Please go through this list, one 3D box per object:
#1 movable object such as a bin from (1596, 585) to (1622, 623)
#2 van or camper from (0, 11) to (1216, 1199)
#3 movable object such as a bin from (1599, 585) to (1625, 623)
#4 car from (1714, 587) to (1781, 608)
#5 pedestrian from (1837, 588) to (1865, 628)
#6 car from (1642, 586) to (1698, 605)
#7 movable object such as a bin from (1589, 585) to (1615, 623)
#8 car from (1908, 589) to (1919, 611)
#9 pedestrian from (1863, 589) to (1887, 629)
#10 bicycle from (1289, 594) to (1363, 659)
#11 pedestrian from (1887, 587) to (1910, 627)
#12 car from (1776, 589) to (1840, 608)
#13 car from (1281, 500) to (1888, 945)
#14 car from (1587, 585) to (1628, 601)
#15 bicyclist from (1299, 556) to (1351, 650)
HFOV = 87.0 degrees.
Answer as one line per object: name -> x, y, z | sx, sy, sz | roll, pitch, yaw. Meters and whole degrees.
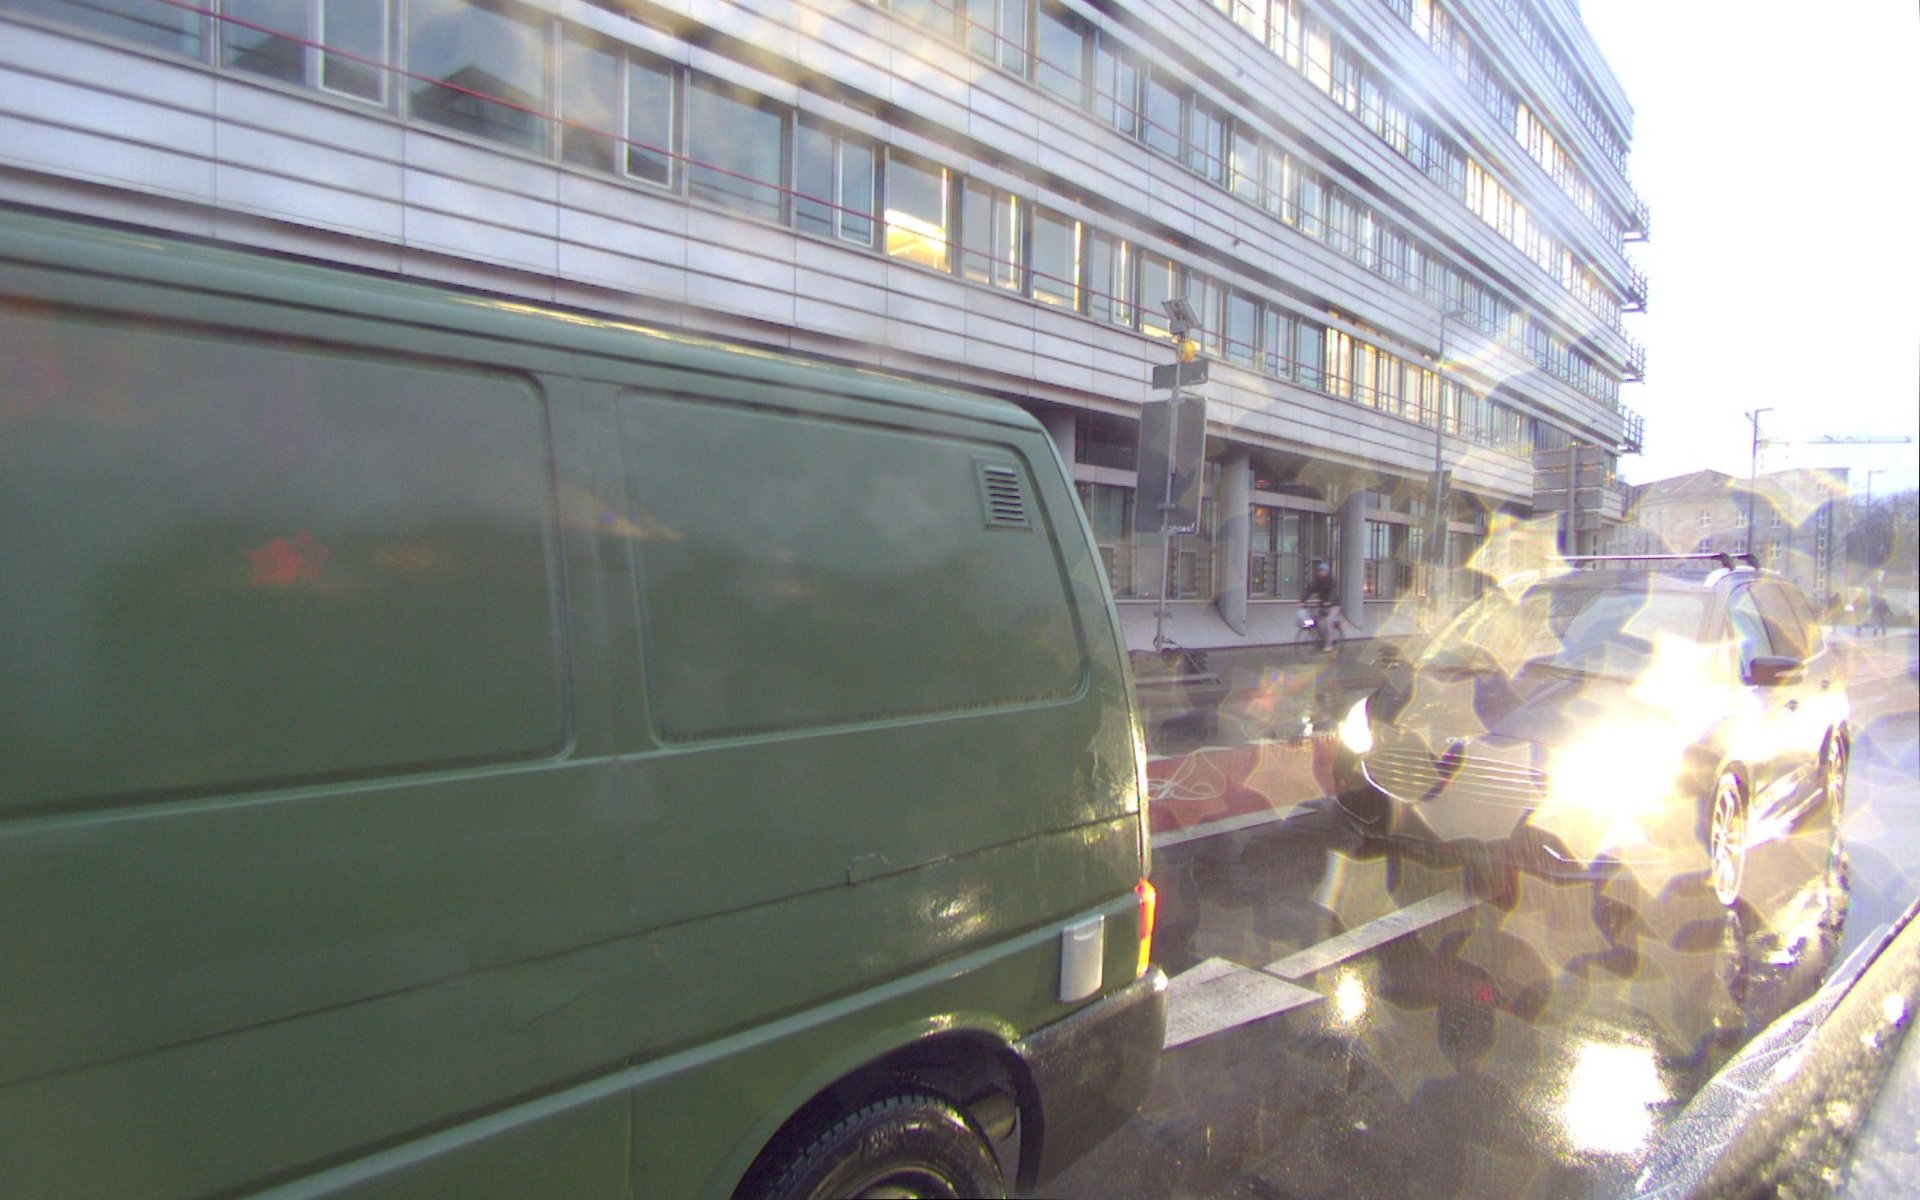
movable object such as a bin -> 25.489, 0.161, 39.720 | 0.826, 1.446, 0.665 | 0, 1, -44
van or camper -> -1.686, 0.449, 1.297 | 4.341, 1.931, 1.760 | 0, 0, -41
movable object such as a bin -> 26.063, 0.159, 40.454 | 0.826, 1.495, 0.665 | 0, 1, -44
car -> 71.060, -0.273, 91.400 | 1.958, 1.782, 4.386 | 0, 1, -24
pedestrian -> 40.275, 0.352, 45.746 | 0.953, 1.722, 0.746 | 0, 4, -44
car -> 68.607, -0.467, 97.836 | 1.958, 1.693, 4.013 | 0, 1, -24
movable object such as a bin -> 24.830, 0.145, 39.135 | 0.826, 1.446, 0.665 | 0, 1, -44
car -> 76.583, 0.060, 78.561 | 1.743, 1.730, 3.932 | 0, 1, -26
pedestrian -> 40.368, 0.383, 44.647 | 0.870, 1.723, 0.650 | 0, 3, -44
bicycle -> 7.364, 0.515, 20.329 | 1.732, 1.213, 0.680 | 0, 3, -45
pedestrian -> 40.971, 0.314, 44.190 | 0.870, 1.689, 0.615 | 0, 3, -44
car -> 72.876, -0.126, 87.026 | 1.743, 1.556, 3.775 | 1, 1, -24
car -> 4.149, 0.494, 6.371 | 4.587, 1.834, 1.887 | 0, 0, -39
car -> 76.654, -0.808, 119.868 | 1.756, 1.829, 3.741 | 1, 1, -22
bicyclist -> 7.304, 0.044, 20.260 | 0.793, 1.820, 0.670 | 0, 2, -45
